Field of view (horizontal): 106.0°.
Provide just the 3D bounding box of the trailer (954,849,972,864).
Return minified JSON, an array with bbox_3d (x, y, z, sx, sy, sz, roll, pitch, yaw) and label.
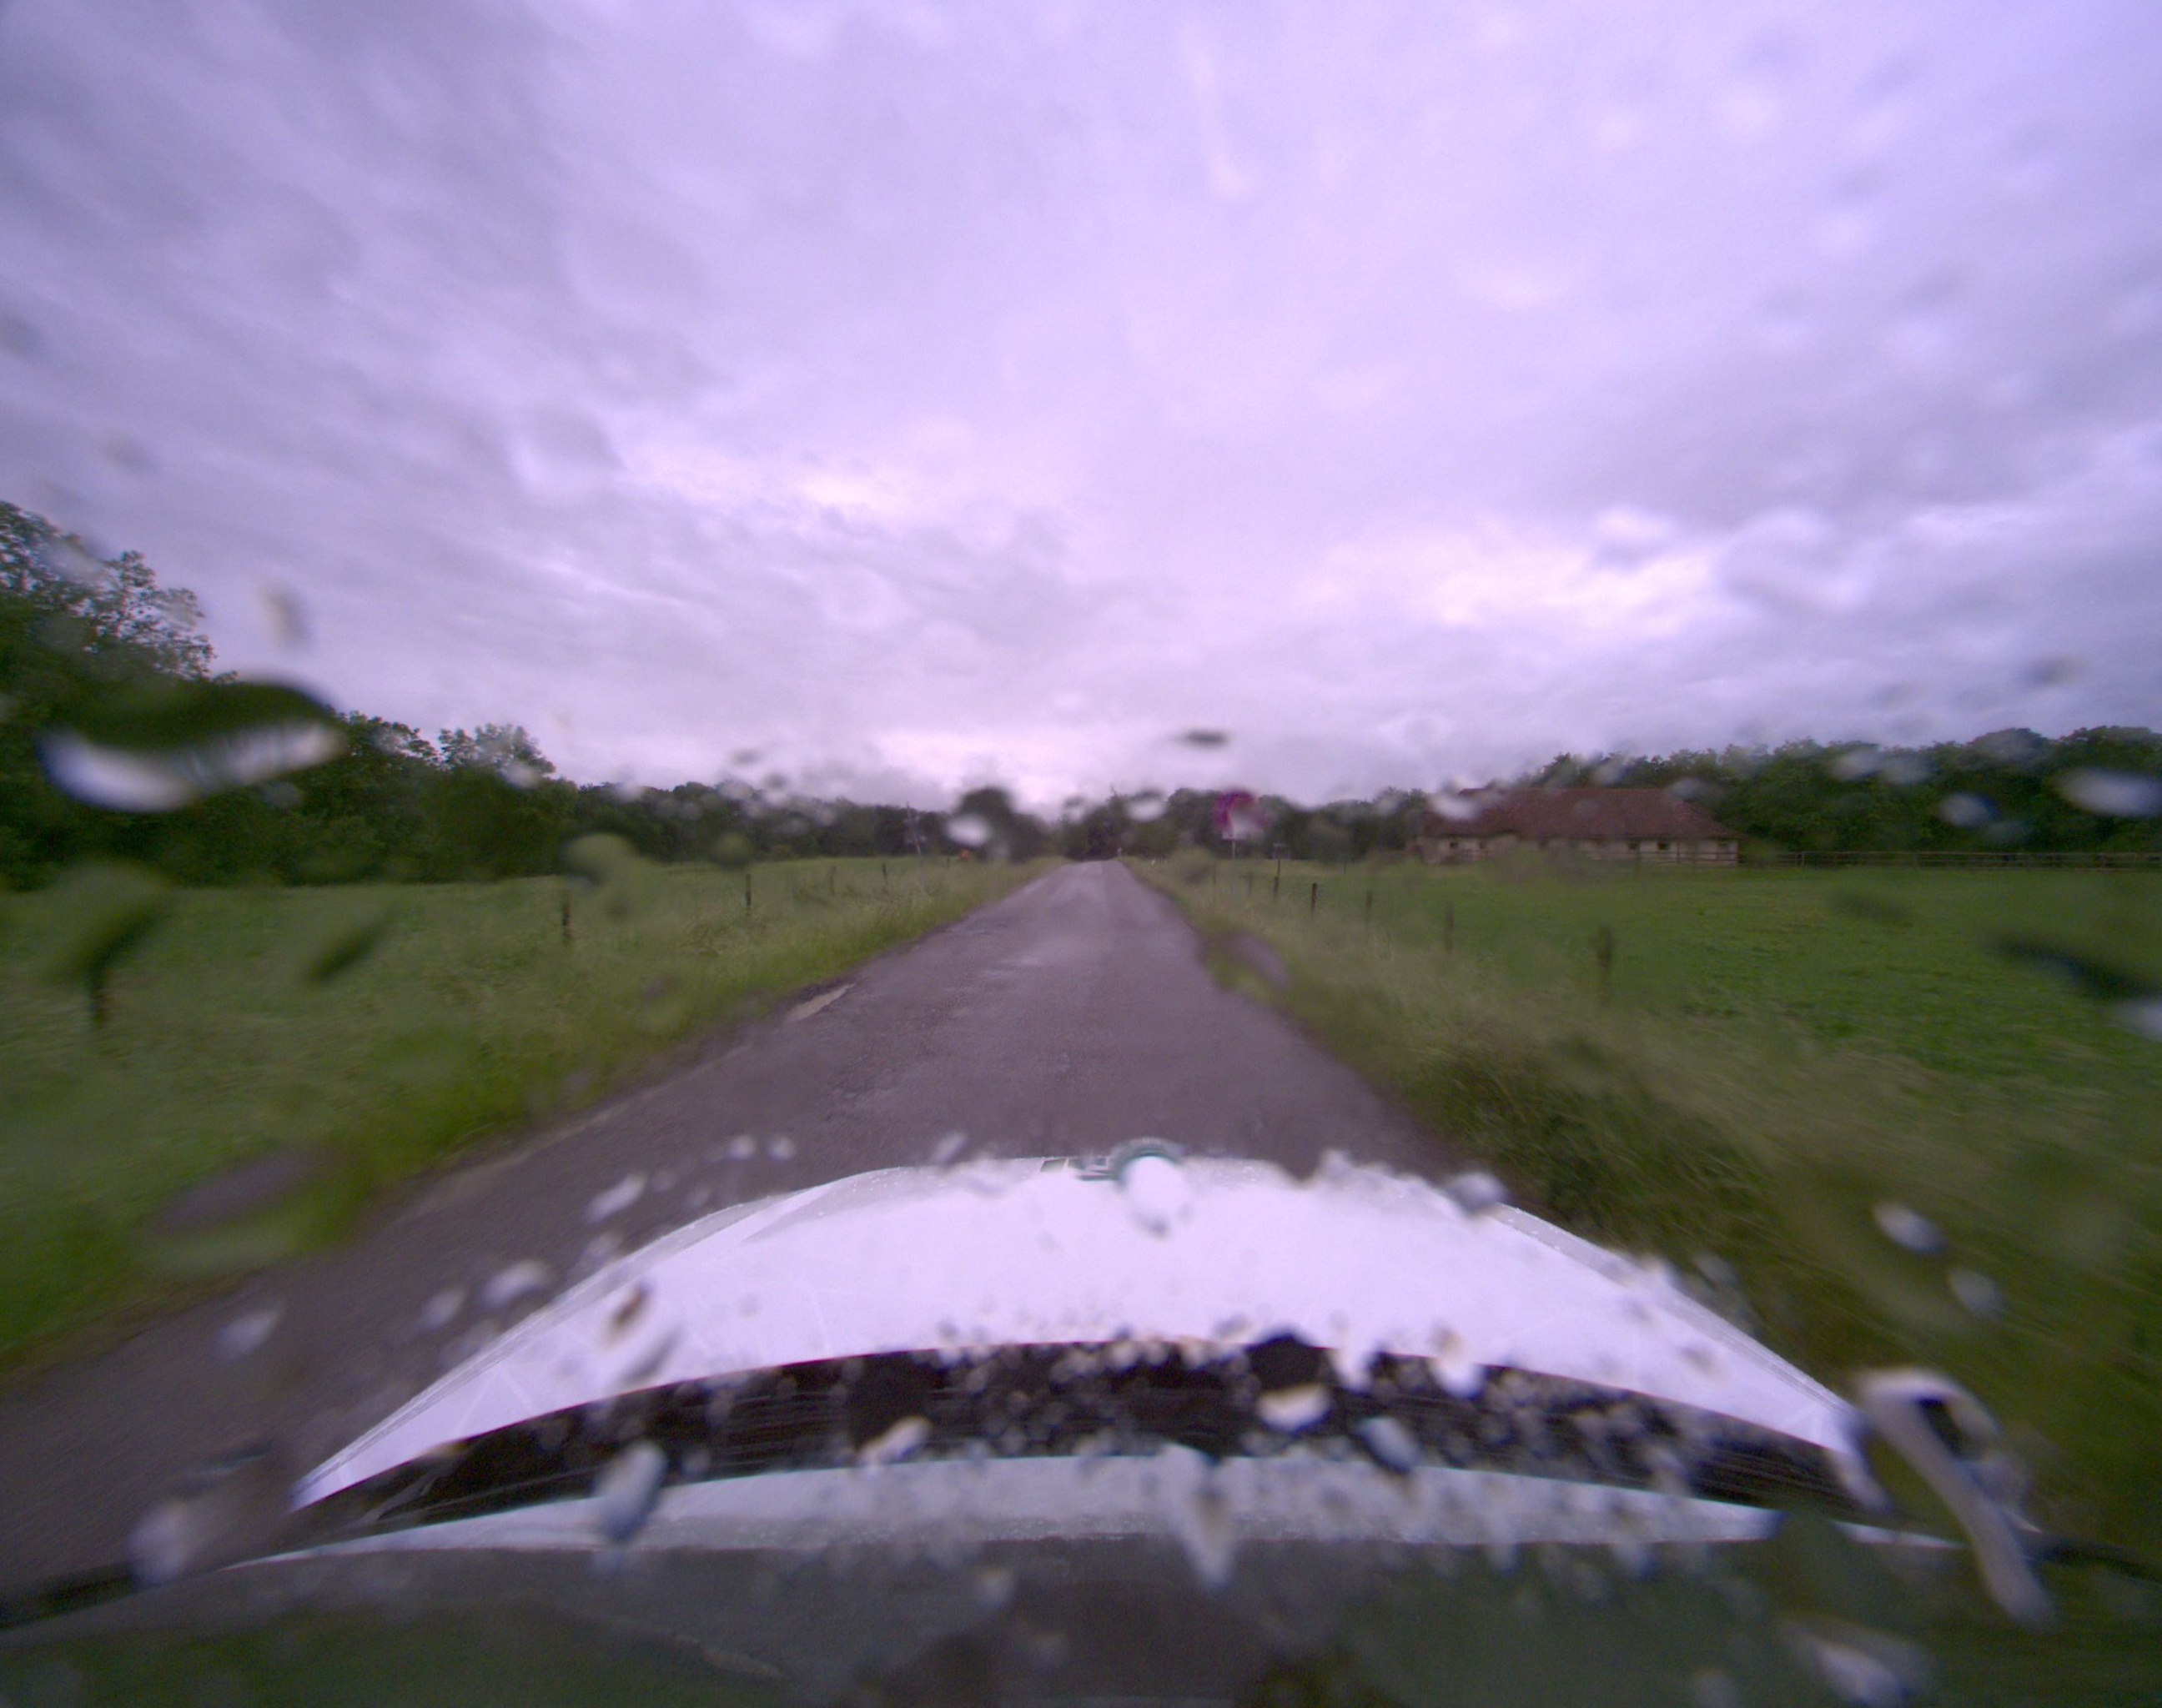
[{"bbox_3d":[-11.866,0.240,82.115,1.751,1.505,3.080,0,0,-9],"label":"trailer"}]
